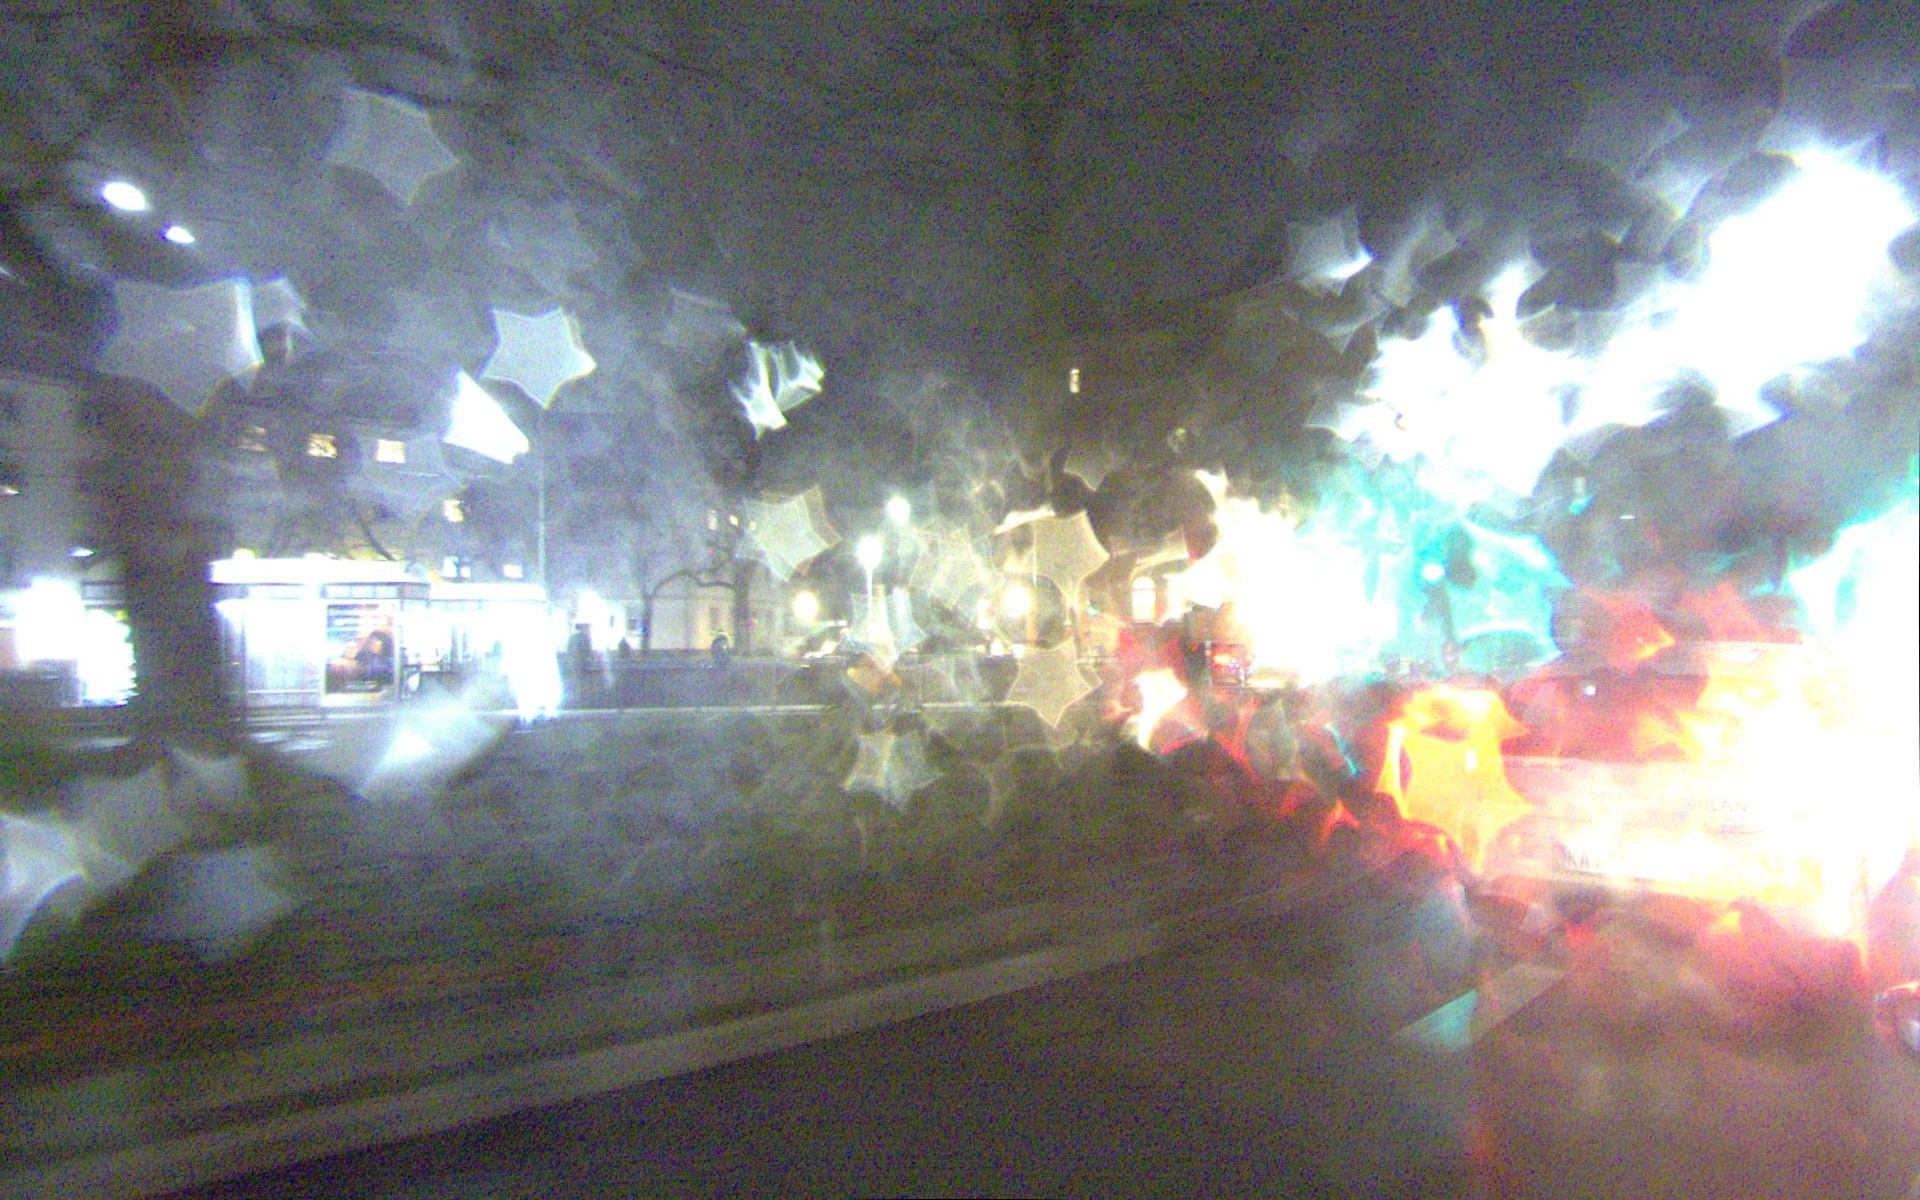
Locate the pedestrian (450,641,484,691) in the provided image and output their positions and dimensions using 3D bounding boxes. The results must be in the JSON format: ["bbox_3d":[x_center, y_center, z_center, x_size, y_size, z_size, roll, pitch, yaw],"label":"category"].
[{"bbox_3d":[-13.060,1.734,26.622,0.576,1.270,0.622,1,1,38],"label":"pedestrian"}]

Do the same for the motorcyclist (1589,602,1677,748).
[{"bbox_3d":[8.269,0.895,12.375,0.777,1.717,0.819,1,-1,27],"label":"motorcyclist"}]

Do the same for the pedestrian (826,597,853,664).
[{"bbox_3d":[-3.311,0.828,27.630,0.659,1.798,0.716,1,1,-11],"label":"pedestrian"}]

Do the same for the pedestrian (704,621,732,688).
[{"bbox_3d":[-6.728,1.504,27.926,0.706,1.798,0.668,1,1,-18],"label":"pedestrian"}]

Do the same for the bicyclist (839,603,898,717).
[{"bbox_3d":[-1.304,0.838,14.232,0.801,1.568,0.571,1,0,-8],"label":"bicyclist"}]

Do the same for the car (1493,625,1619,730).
[{"bbox_3d":[11.371,1.395,19.374,1.721,1.762,3.796,1,-1,25],"label":"car"}]

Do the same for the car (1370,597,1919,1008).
[{"bbox_3d":[4.127,0.858,5.706,3.571,1.535,1.903,1,-5,-42],"label":"car"}]

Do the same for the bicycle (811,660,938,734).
[{"bbox_3d":[-1.225,1.363,14.243,1.748,0.982,0.571,1,0,-8],"label":"bicycle"}]

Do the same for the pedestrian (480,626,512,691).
[{"bbox_3d":[-12.274,1.526,26.576,0.576,1.674,0.557,1,1,38],"label":"pedestrian"}]

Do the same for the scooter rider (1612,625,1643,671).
[{"bbox_3d":[23.755,1.712,35.765,0.639,1.594,0.642,1,1,2],"label":"scooter rider"}]

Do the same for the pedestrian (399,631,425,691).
[{"bbox_3d":[-14.481,1.600,26.540,0.567,1.568,0.508,1,1,-26],"label":"pedestrian"}]

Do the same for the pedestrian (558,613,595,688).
[{"bbox_3d":[-10.462,1.368,27.425,0.844,2.013,0.608,1,1,-12],"label":"pedestrian"}]

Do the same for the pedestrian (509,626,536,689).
[{"bbox_3d":[-11.770,1.539,27.039,0.394,1.651,0.531,1,1,38],"label":"pedestrian"}]

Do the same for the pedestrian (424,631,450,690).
[{"bbox_3d":[-13.948,1.608,26.786,0.579,1.548,0.477,1,1,-26],"label":"pedestrian"}]

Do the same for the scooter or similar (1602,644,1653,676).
[{"bbox_3d":[23.761,2.117,35.770,1.342,1.066,0.642,1,0,2],"label":"scooter or similar"}]

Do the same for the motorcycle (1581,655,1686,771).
[{"bbox_3d":[8.281,1.327,12.435,0.777,1.229,2.248,1,-1,26],"label":"motorcycle"}]
